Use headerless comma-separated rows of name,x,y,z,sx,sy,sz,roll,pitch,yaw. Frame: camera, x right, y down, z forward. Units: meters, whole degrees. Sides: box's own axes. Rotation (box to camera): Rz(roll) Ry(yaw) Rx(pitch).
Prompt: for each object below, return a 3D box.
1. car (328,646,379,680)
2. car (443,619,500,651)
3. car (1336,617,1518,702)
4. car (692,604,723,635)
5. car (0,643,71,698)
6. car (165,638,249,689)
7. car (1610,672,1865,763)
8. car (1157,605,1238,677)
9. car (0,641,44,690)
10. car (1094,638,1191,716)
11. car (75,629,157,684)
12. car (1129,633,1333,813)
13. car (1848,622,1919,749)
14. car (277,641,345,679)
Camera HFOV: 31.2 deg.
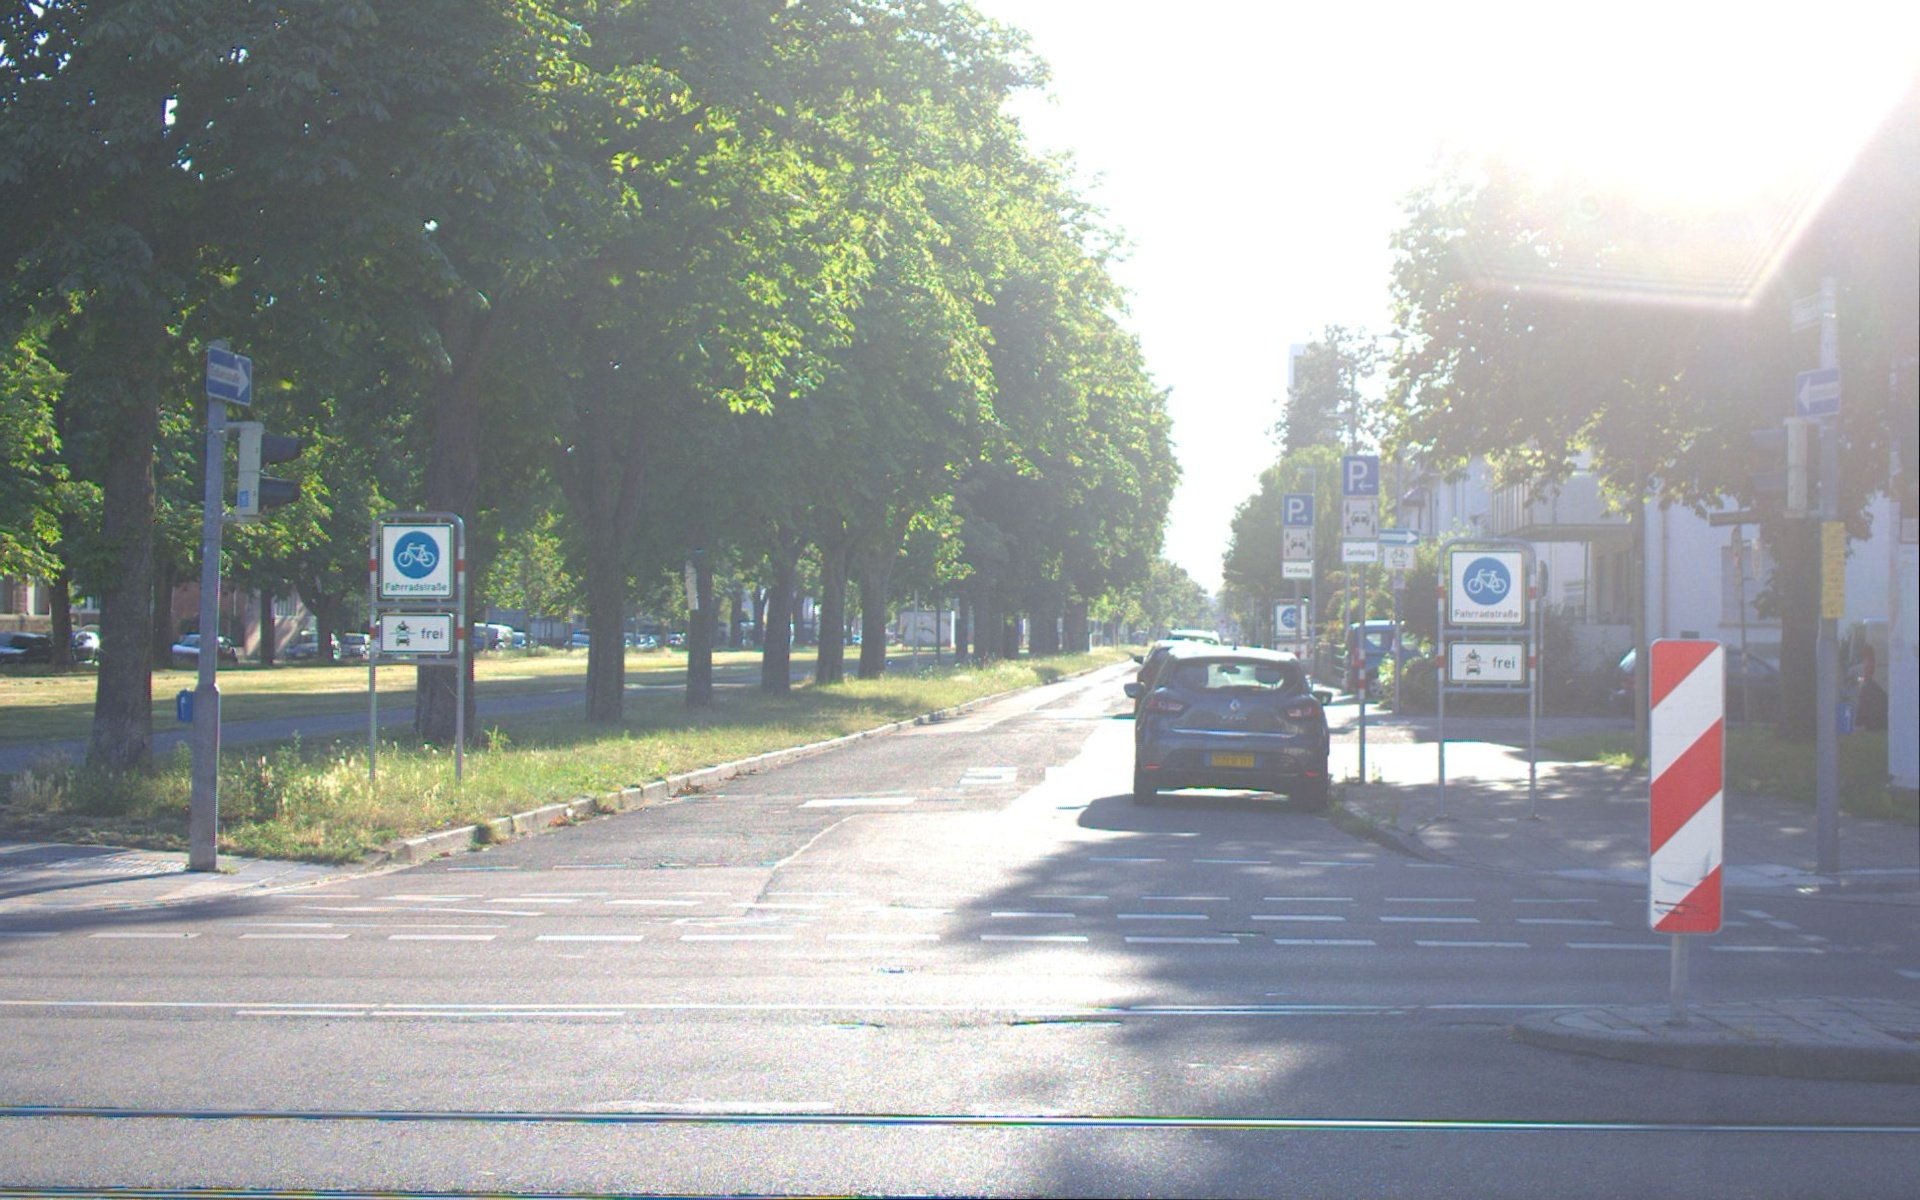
car,-30.403,3.170,172.335,1.639,1.637,3.854,3,-1,3
car,-25.383,1.813,178.791,1.994,1.653,4.570,1,-1,4
car,10.885,1.409,80.338,3.987,1.816,1.759,0,-6,0
car,-17.981,1.393,244.881,1.654,1.932,3.566,3,-3,4
car,-29.649,2.214,108.161,1.880,1.668,4.314,3,-1,5
car,-28.085,2.382,128.289,1.812,1.775,4.121,3,-1,5
car,13.178,1.993,58.413,3.987,1.442,1.716,1,-2,4
car,6.274,1.081,91.161,1.994,1.775,3.999,3,0,3
car,-33.452,2.234,118.809,1.994,1.653,4.373,3,-1,6
car,3.502,1.480,65.433,1.710,1.355,4.202,3,-1,4
car,-33.154,2.239,135.158,1.994,2.007,3.999,3,-1,3
car,2.566,1.127,31.996,1.726,1.506,4.539,1,-2,6
car,15.700,1.309,51.707,4.242,1.869,2.030,1,-2,4
car,-31.105,2.883,164.882,1.994,1.653,4.354,3,-1,6
